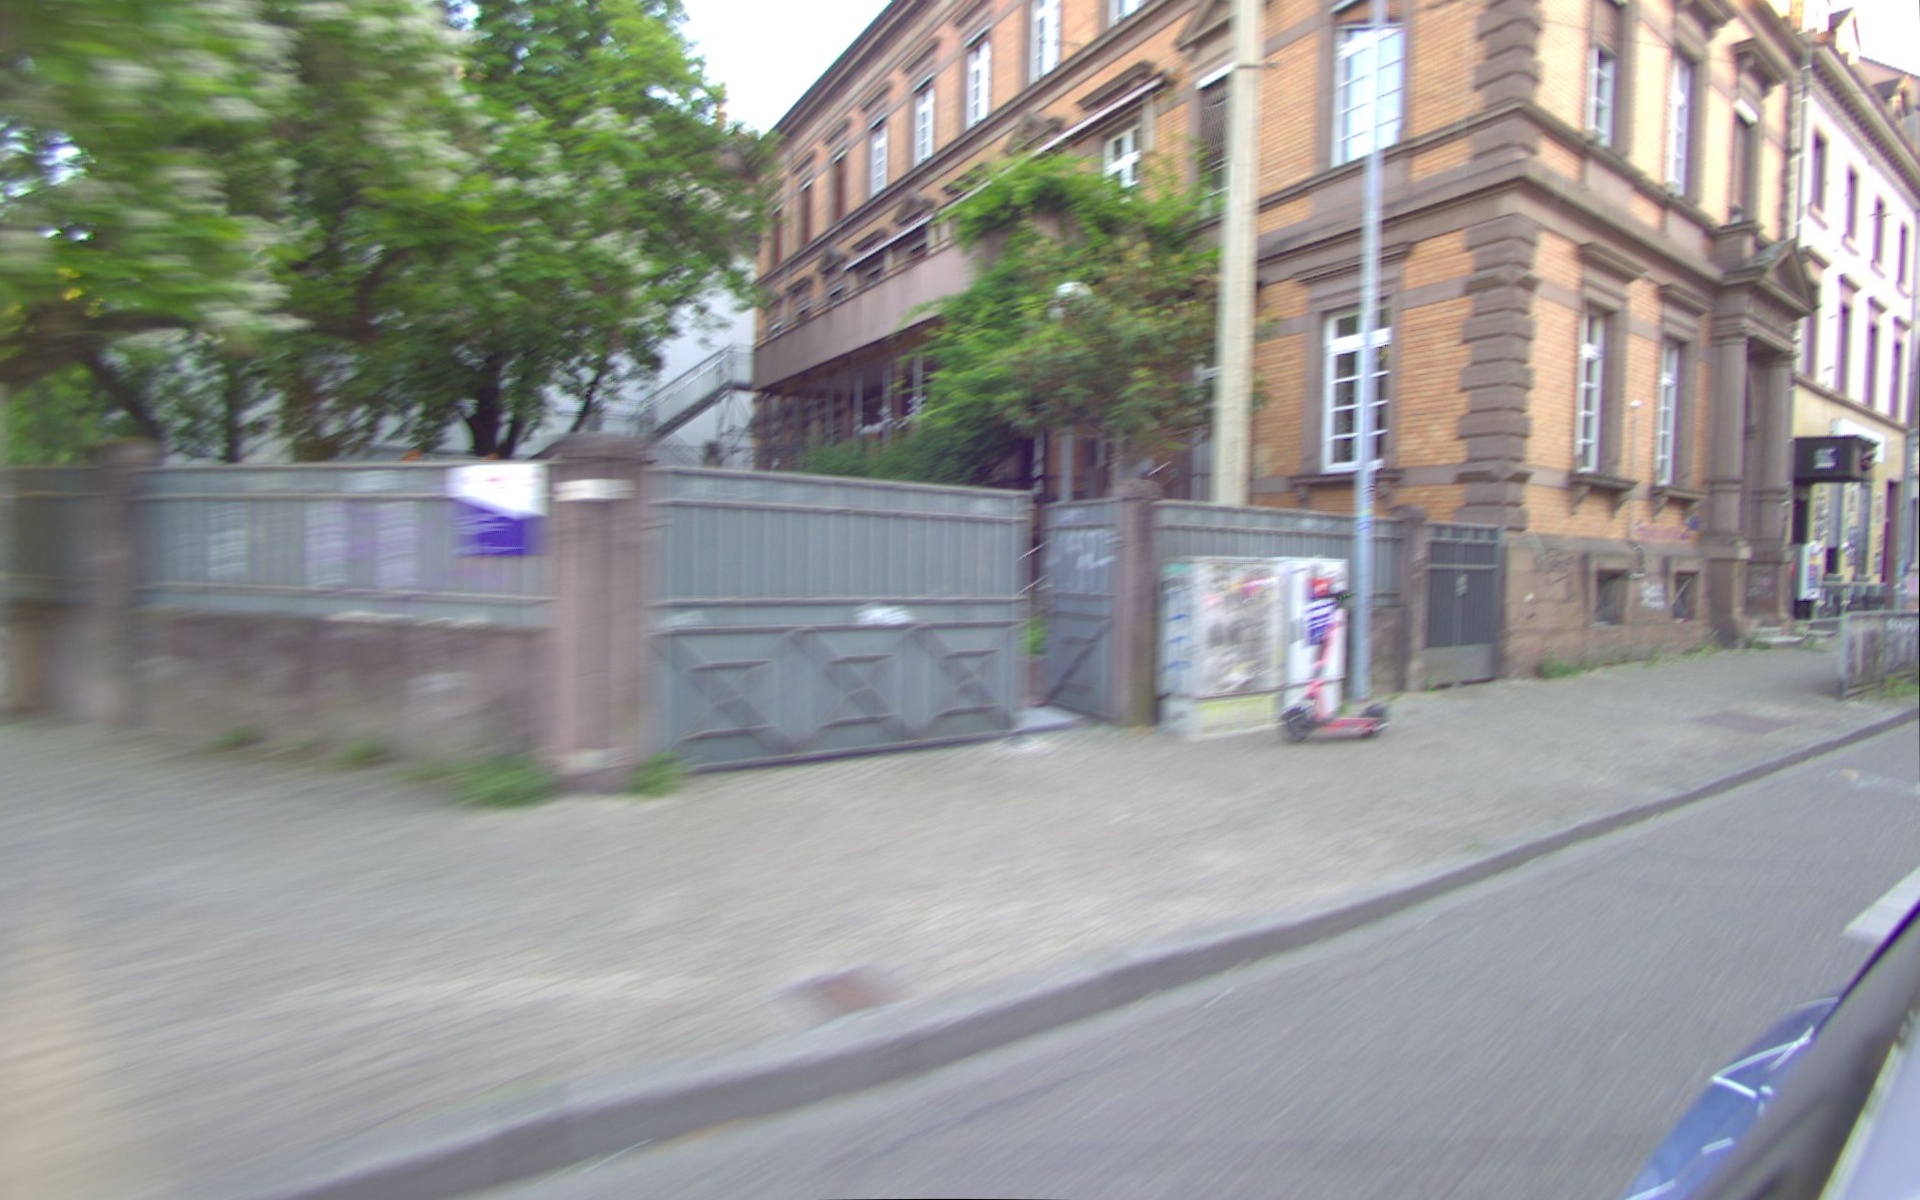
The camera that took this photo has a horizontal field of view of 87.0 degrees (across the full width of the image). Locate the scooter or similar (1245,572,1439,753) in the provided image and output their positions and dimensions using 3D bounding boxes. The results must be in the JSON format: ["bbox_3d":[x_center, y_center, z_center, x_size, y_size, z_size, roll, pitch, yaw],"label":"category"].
[{"bbox_3d":[3.036,0.437,8.003,1.553,1.281,0.644,-1,4,-36],"label":"scooter or similar"}]
